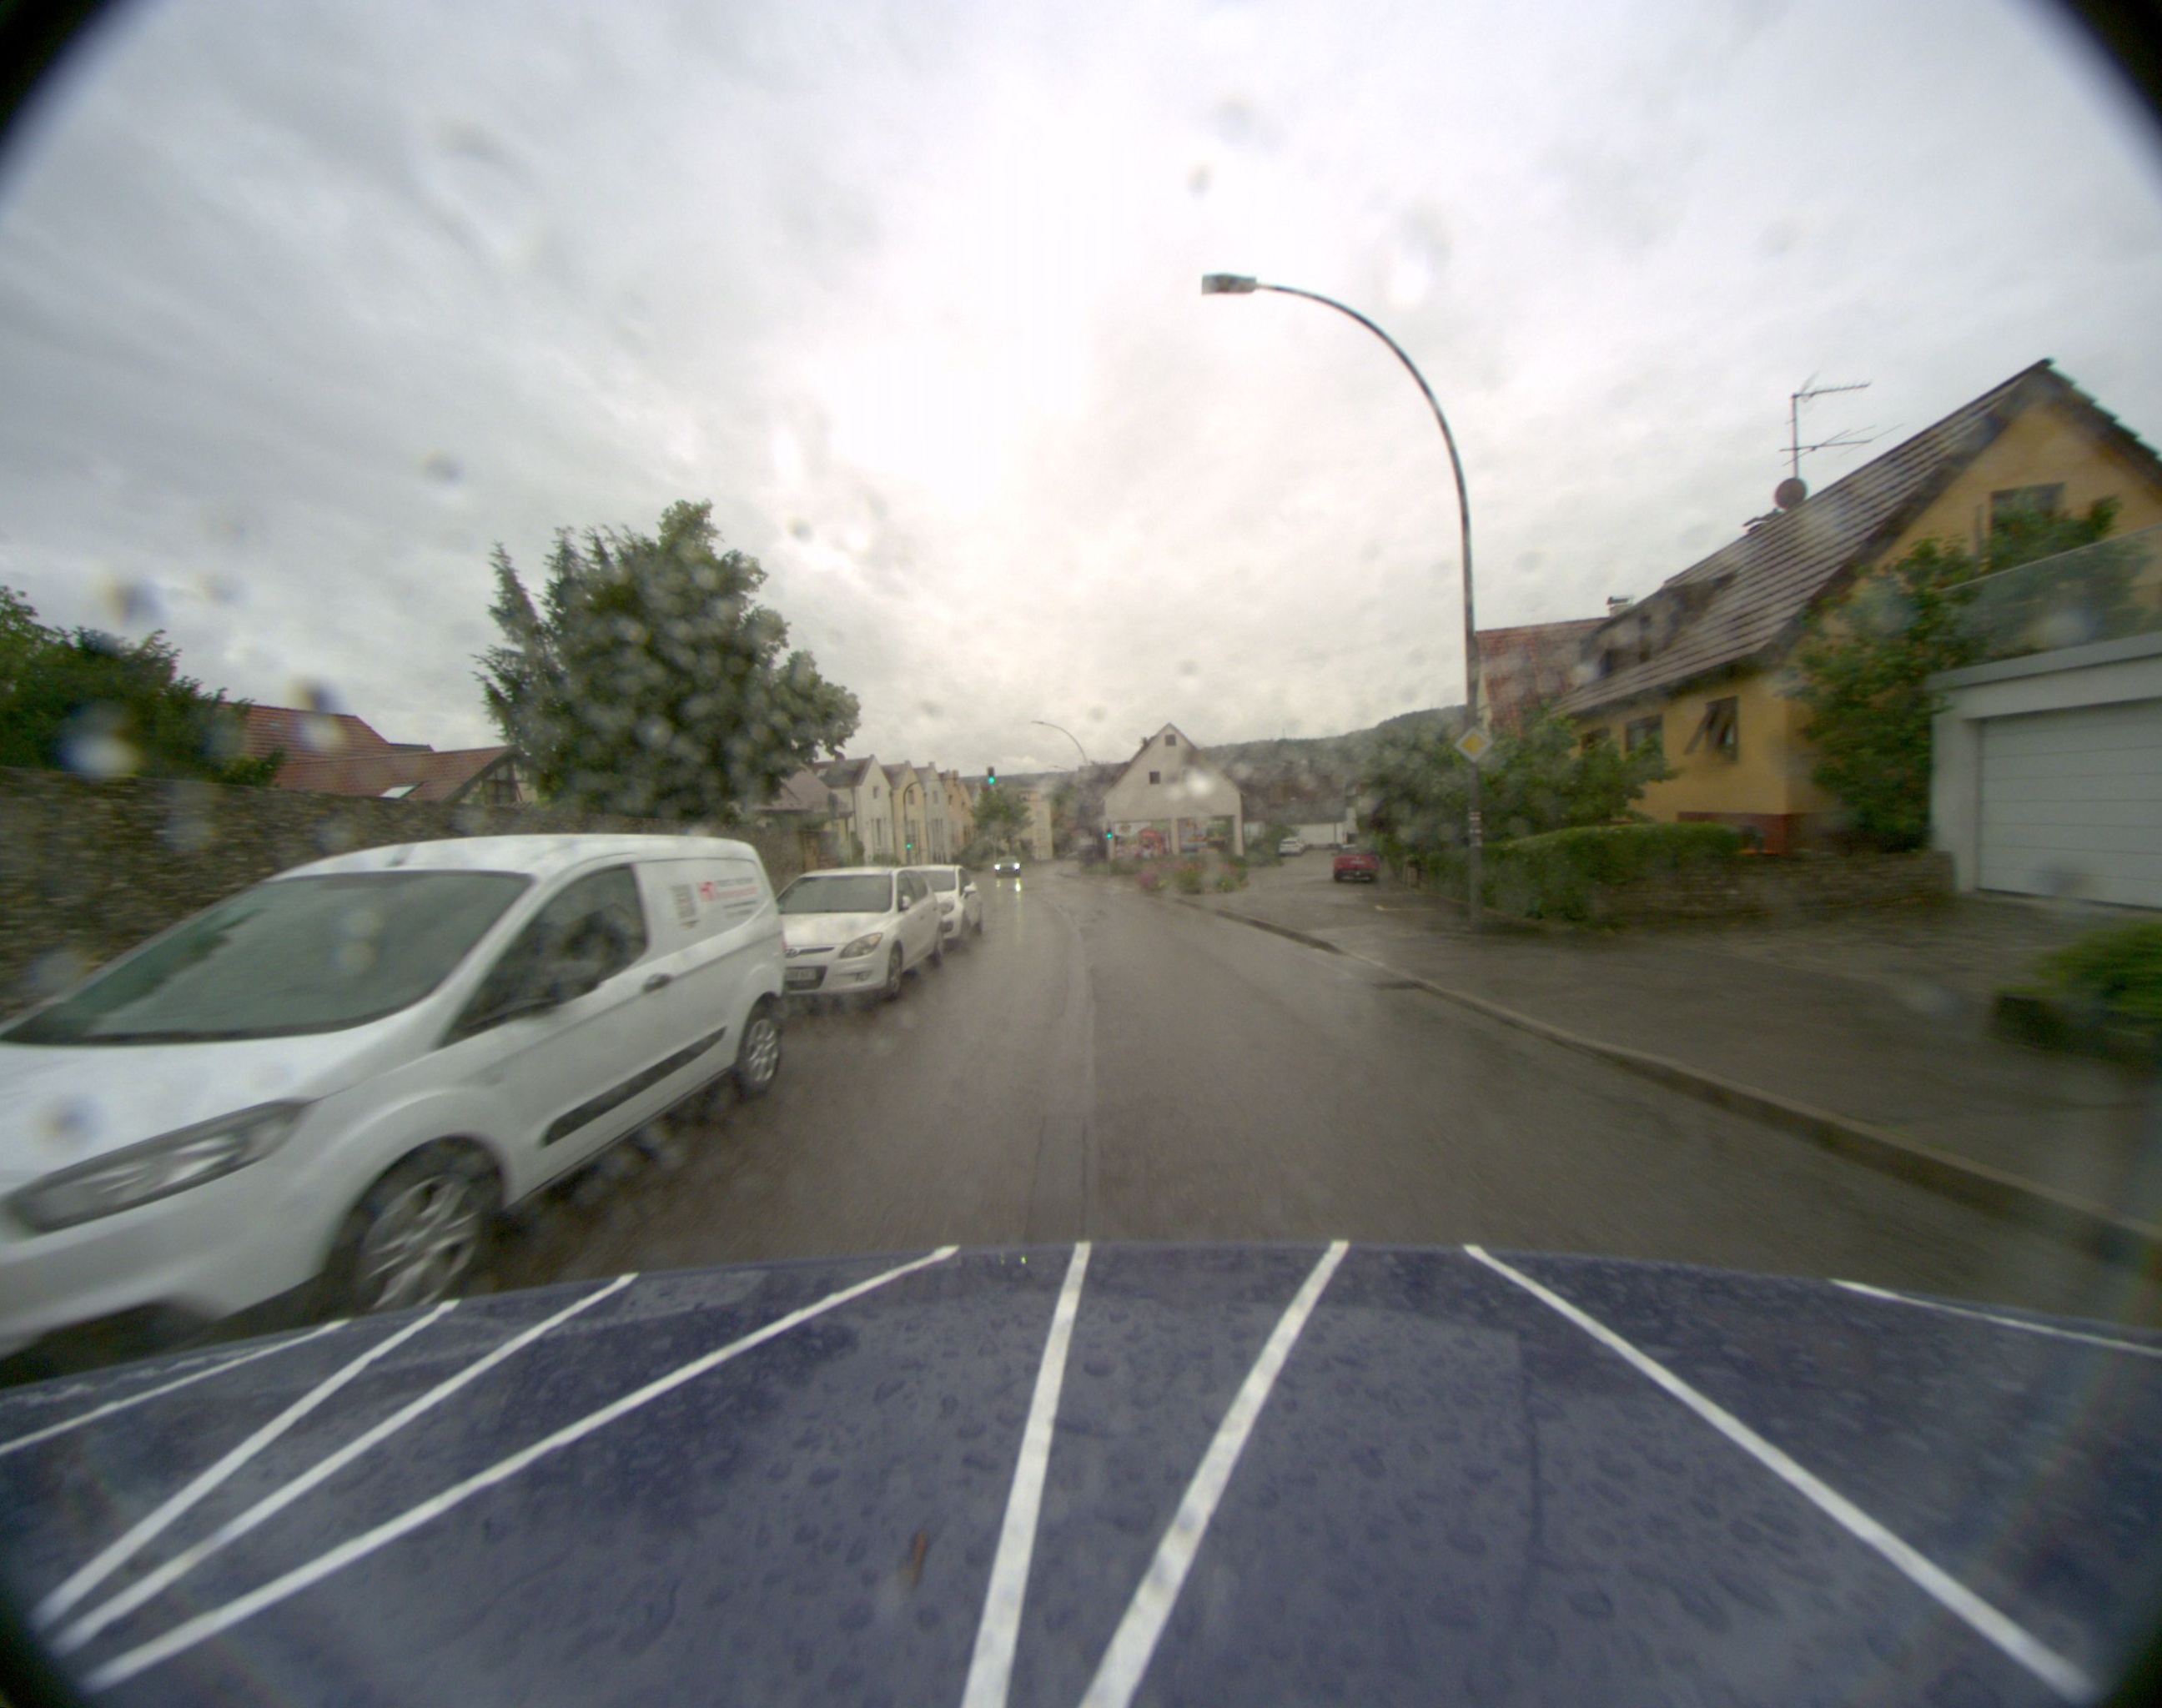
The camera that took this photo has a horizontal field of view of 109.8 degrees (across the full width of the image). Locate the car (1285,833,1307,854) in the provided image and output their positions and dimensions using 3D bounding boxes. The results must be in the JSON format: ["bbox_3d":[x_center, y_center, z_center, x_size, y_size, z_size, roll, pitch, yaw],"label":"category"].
[{"bbox_3d":[19.933,-0.970,70.322,1.755,1.878,3.744,-2,1,17],"label":"car"}]

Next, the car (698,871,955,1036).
[{"bbox_3d":[-2.820,1.021,9.414,1.649,1.453,4.001,-3,0,2],"label":"car"}]

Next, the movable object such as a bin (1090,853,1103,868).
[{"bbox_3d":[1.190,0.483,58.883,0.899,1.072,0.651,-4,2,1],"label":"movable object such as a bin"}]

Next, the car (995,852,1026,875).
[{"bbox_3d":[-5.194,0.675,56.285,1.999,1.521,3.998,-3,2,-2],"label":"car"}]

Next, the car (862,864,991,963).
[{"bbox_3d":[-2.803,1.018,14.632,1.616,1.472,4.037,-3,1,-1],"label":"car"}]

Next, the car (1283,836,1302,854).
[{"bbox_3d":[18.076,-0.771,64.785,1.415,1.420,3.496,-2,1,17],"label":"car"}]

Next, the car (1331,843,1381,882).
[{"bbox_3d":[11.962,0.338,33.251,1.751,1.553,4.023,-2,1,16],"label":"car"}]

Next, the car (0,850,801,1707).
[{"bbox_3d":[-2.974,0.909,3.482,1.641,1.731,4.136,-3,0,2],"label":"car"}]

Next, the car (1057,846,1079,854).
[{"bbox_3d":[-2.481,-0.768,147.592,1.875,1.368,4.007,-2,2,43],"label":"car"}]
